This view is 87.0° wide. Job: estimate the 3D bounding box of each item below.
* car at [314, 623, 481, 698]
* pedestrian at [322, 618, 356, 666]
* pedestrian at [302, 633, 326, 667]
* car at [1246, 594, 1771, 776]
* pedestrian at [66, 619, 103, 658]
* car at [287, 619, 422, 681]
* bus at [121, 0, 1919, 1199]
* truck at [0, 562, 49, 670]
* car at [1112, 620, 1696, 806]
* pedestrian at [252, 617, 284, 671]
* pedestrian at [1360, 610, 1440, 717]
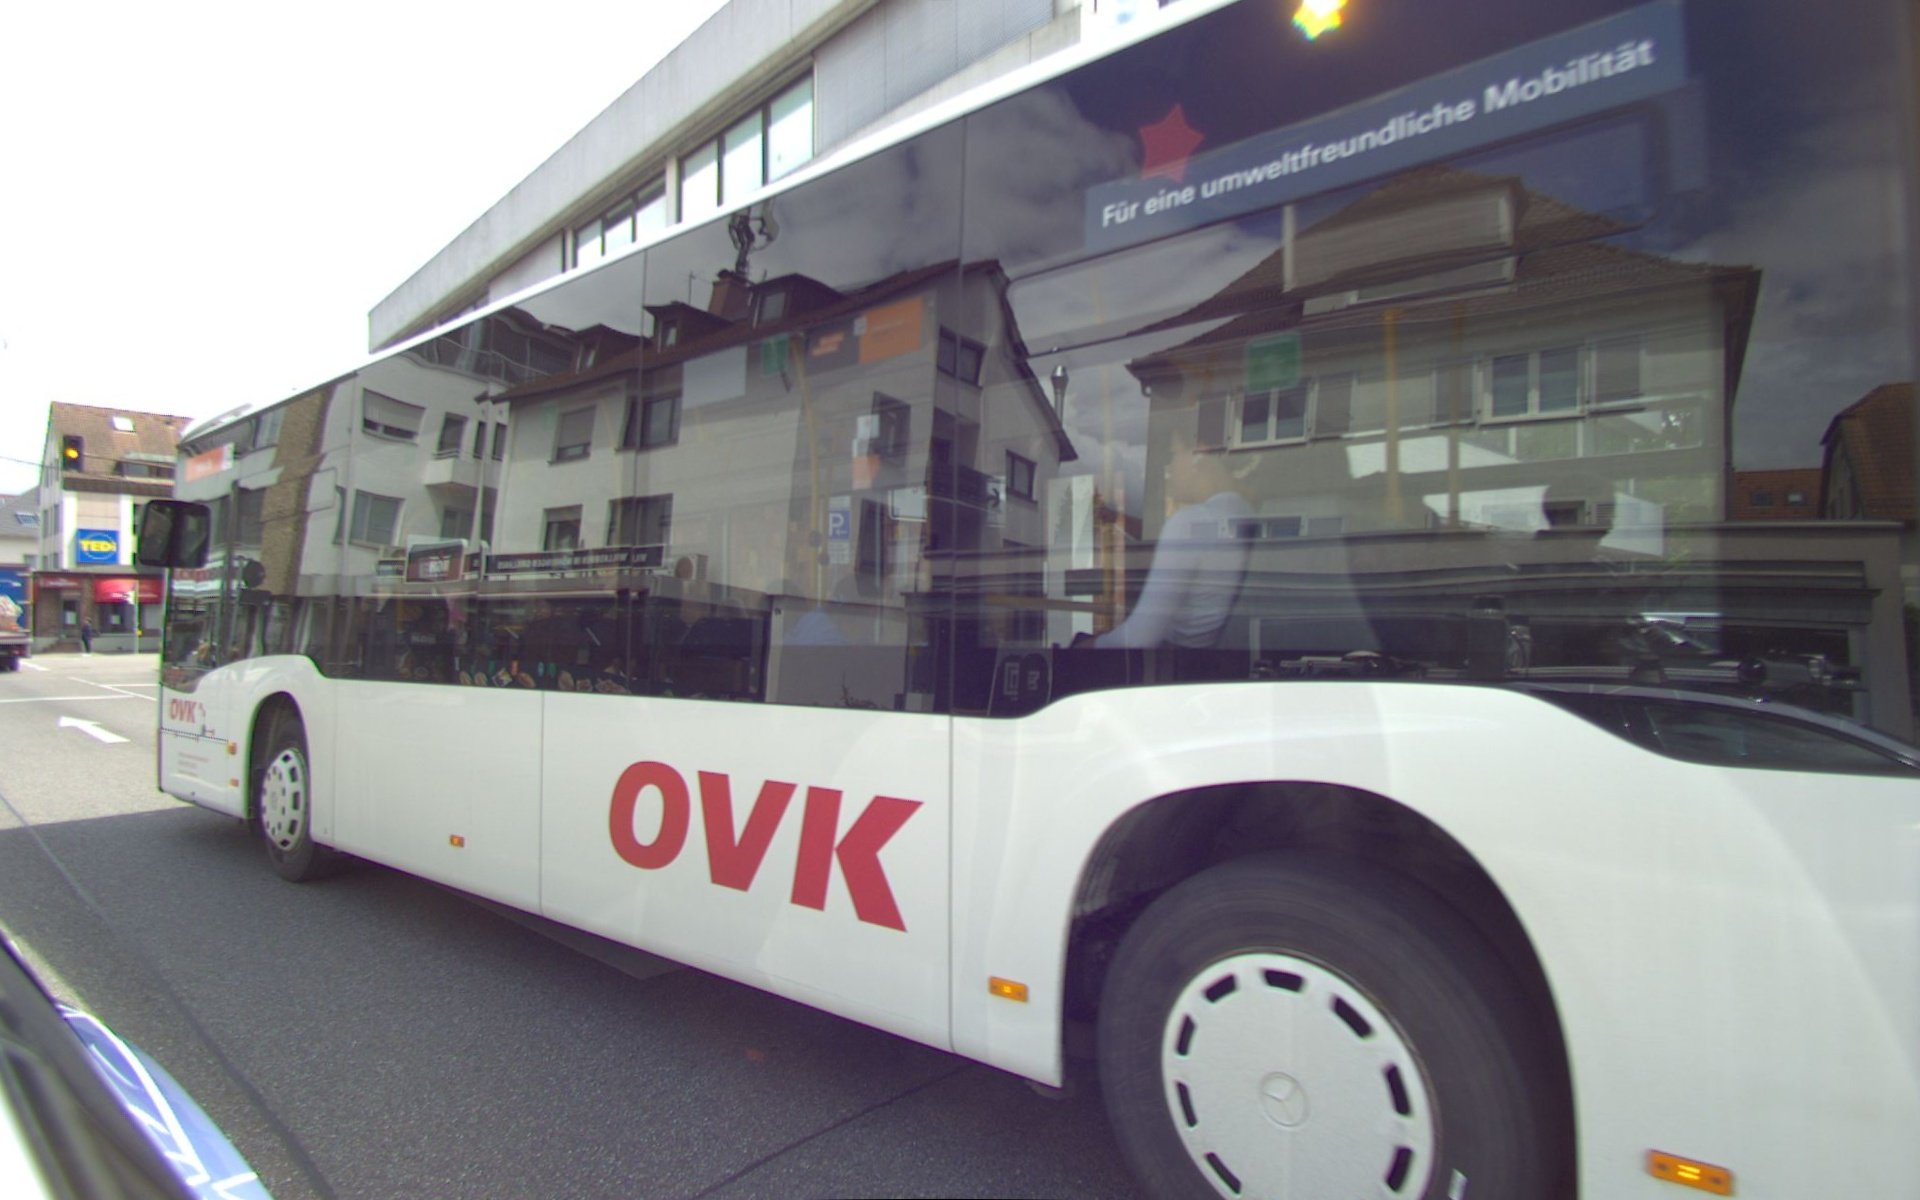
[{"bbox_3d":[-12.744,1.279,22.772,2.021,1.455,4.955,0,-1,-45],"label":"car"},{"bbox_3d":[-20.436,1.371,33.297,0.809,1.566,0.846,0,-1,-43],"label":"pedestrian"},{"bbox_3d":[-21.052,1.633,32.978,0.552,1.065,0.663,0,-1,-42],"label":"pedestrian"},{"bbox_3d":[5.972,0.891,11.618,1.927,1.632,4.935,5,-5,-41],"label":"car"},{"bbox_3d":[-40.132,1.765,46.388,0.839,1.736,0.906,0,-2,0],"label":"pedestrian"},{"bbox_3d":[-16.226,1.286,27.039,4.286,1.486,2.022,-2,-1,44],"label":"car"},{"bbox_3d":[-1.252,-0.150,5.185,10.172,3.188,2.656,-1,-2,39],"label":"bus"},{"bbox_3d":[-31.058,0.511,31.694,8.086,3.116,2.823,-1,-2,42],"label":"truck"},{"bbox_3d":[4.023,0.894,9.885,1.928,1.368,4.859,1,-2,-44],"label":"car"},{"bbox_3d":[-21.818,1.390,31.902,0.709,1.657,0.682,0,-1,-43],"label":"pedestrian"},{"bbox_3d":[7.151,1.017,16.462,0.709,1.684,0.996,3,-4,-42],"label":"pedestrian"}]
